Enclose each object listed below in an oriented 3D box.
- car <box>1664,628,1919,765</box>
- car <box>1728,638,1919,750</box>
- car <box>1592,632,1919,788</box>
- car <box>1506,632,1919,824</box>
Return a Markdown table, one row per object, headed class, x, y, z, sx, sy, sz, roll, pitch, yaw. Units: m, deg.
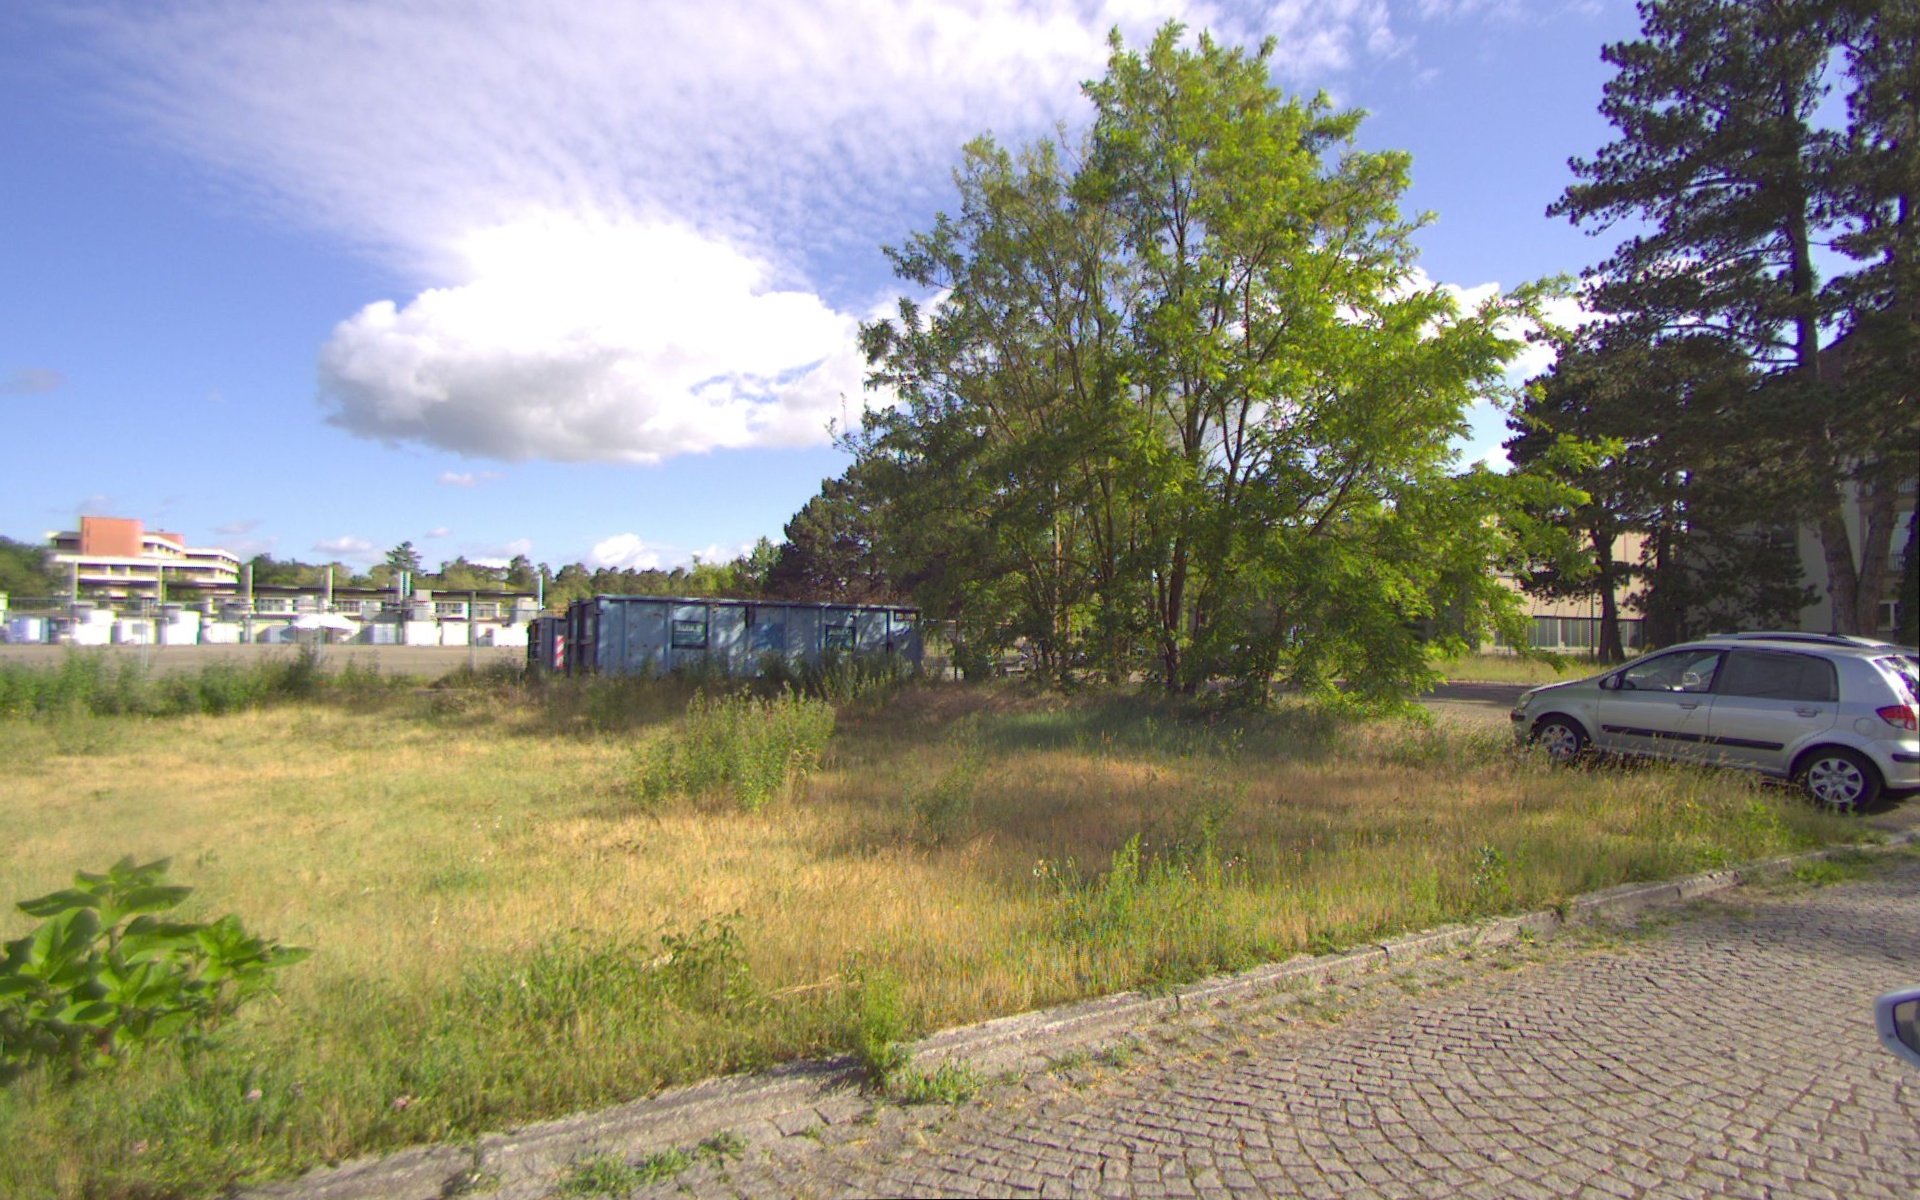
| class | x | y | z | sx | sy | sz | roll | pitch | yaw |
| --- | --- | --- | --- | --- | --- | --- | --- | --- | --- |
| car | 12.423 | 1.272 | 13.835 | 1.864 | 1.614 | 4.057 | 1 | 0 | -32 |
| car | 14.426 | 1.414 | 15.020 | 1.810 | 1.488 | 4.309 | 1 | 0 | -32 |
| car | 10.105 | 1.212 | 11.979 | 1.783 | 1.500 | 3.965 | 1 | 0 | -32 |
| car | 7.981 | 1.157 | 10.450 | 1.628 | 1.507 | 3.725 | 1 | 0 | -32 |
